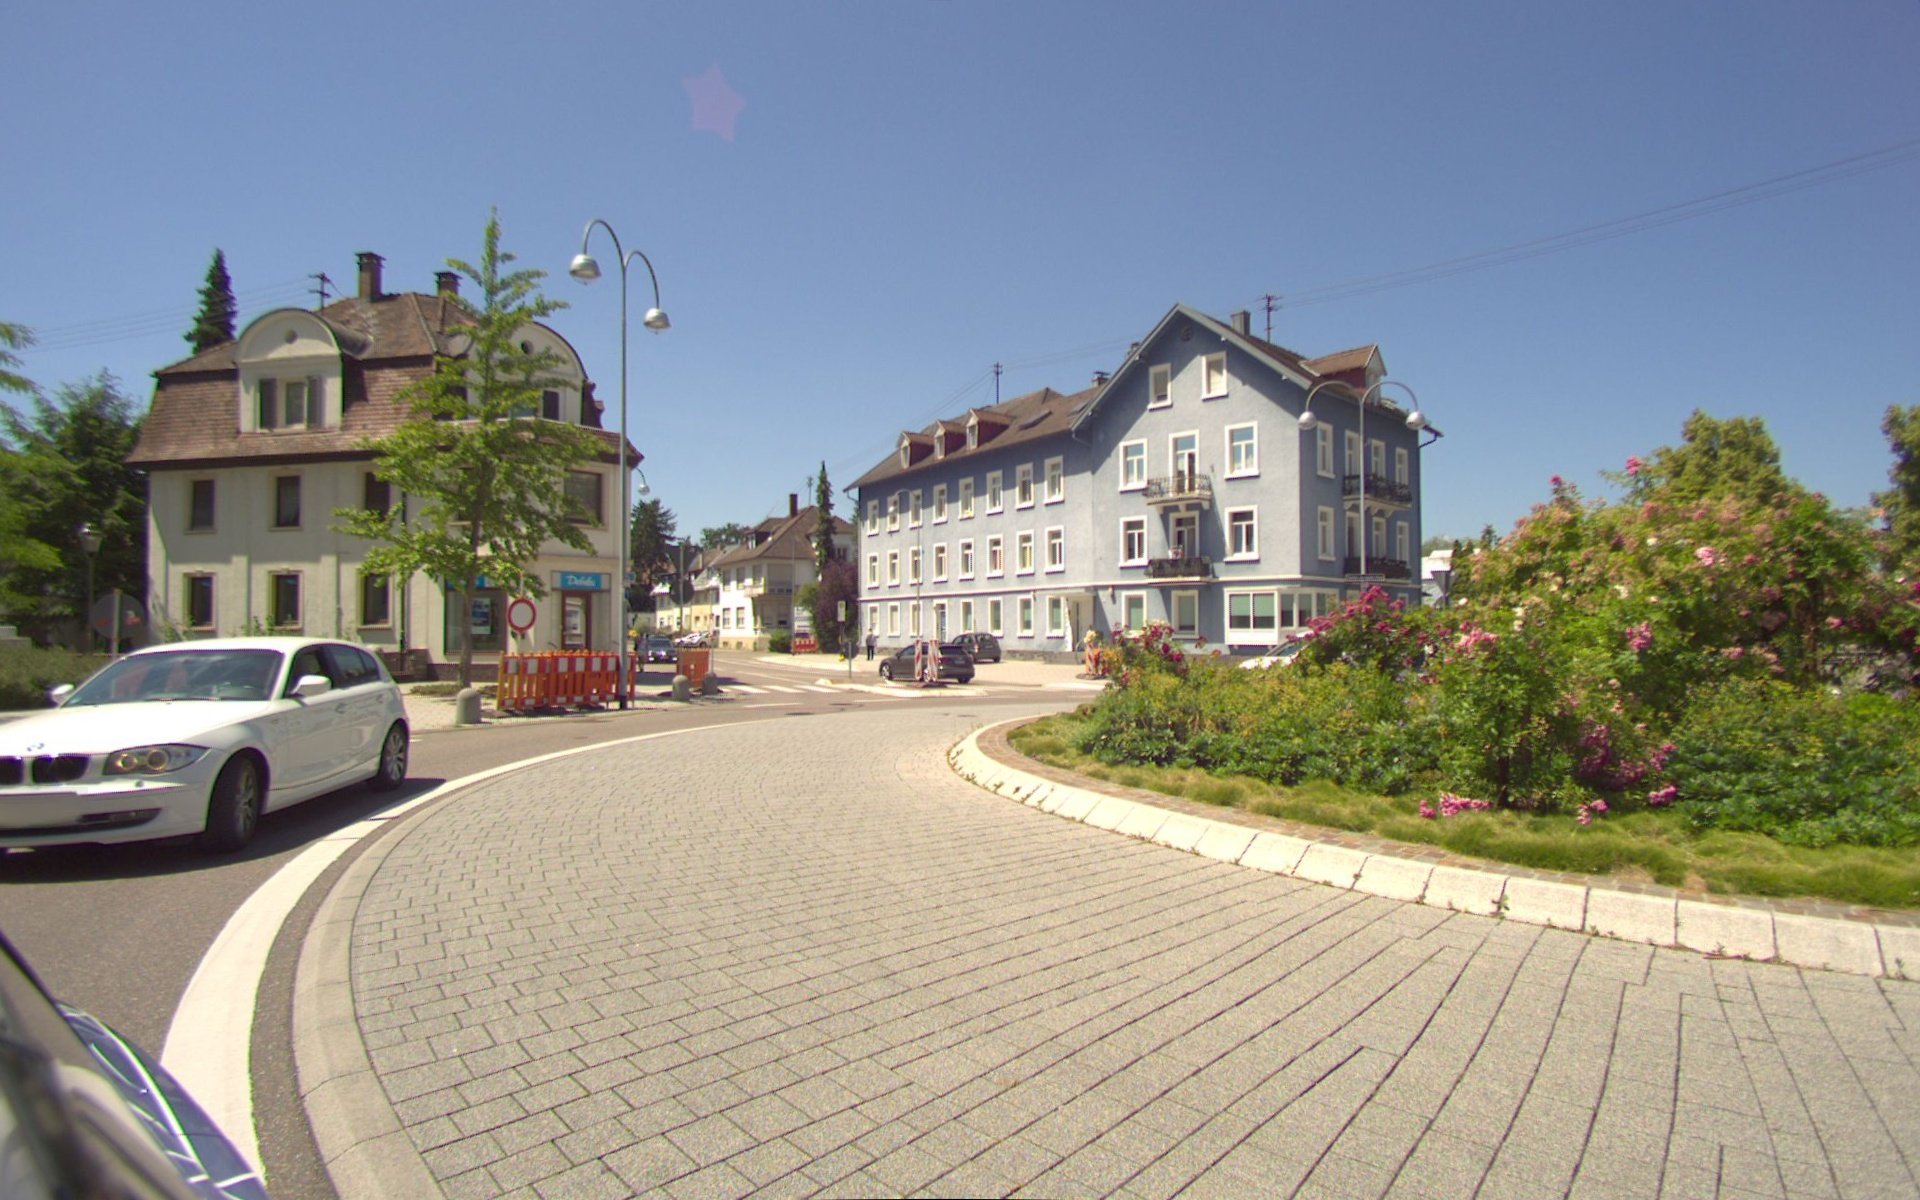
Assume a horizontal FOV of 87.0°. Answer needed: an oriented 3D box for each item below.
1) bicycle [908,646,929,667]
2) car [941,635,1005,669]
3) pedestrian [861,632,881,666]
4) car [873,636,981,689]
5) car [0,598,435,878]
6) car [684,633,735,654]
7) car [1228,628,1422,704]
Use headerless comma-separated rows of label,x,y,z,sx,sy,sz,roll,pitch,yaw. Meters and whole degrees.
bicycle,-2.224,3.033,54.380,0.489,0.984,1.979,-4,0,-20
car,0.618,2.565,51.039,1.555,1.546,3.787,1,-1,-30
pedestrian,-5.065,2.796,57.574,0.745,1.862,0.774,-3,-1,-31
car,-1.239,2.235,36.299,1.752,1.791,4.252,3,-4,-37
car,-5.810,0.928,7.846,1.759,1.563,4.134,-3,-3,-7
car,-23.632,4.097,95.619,4.294,1.891,1.854,4,-4,-37
car,8.993,1.619,25.100,4.174,1.791,1.785,1,-2,-11
